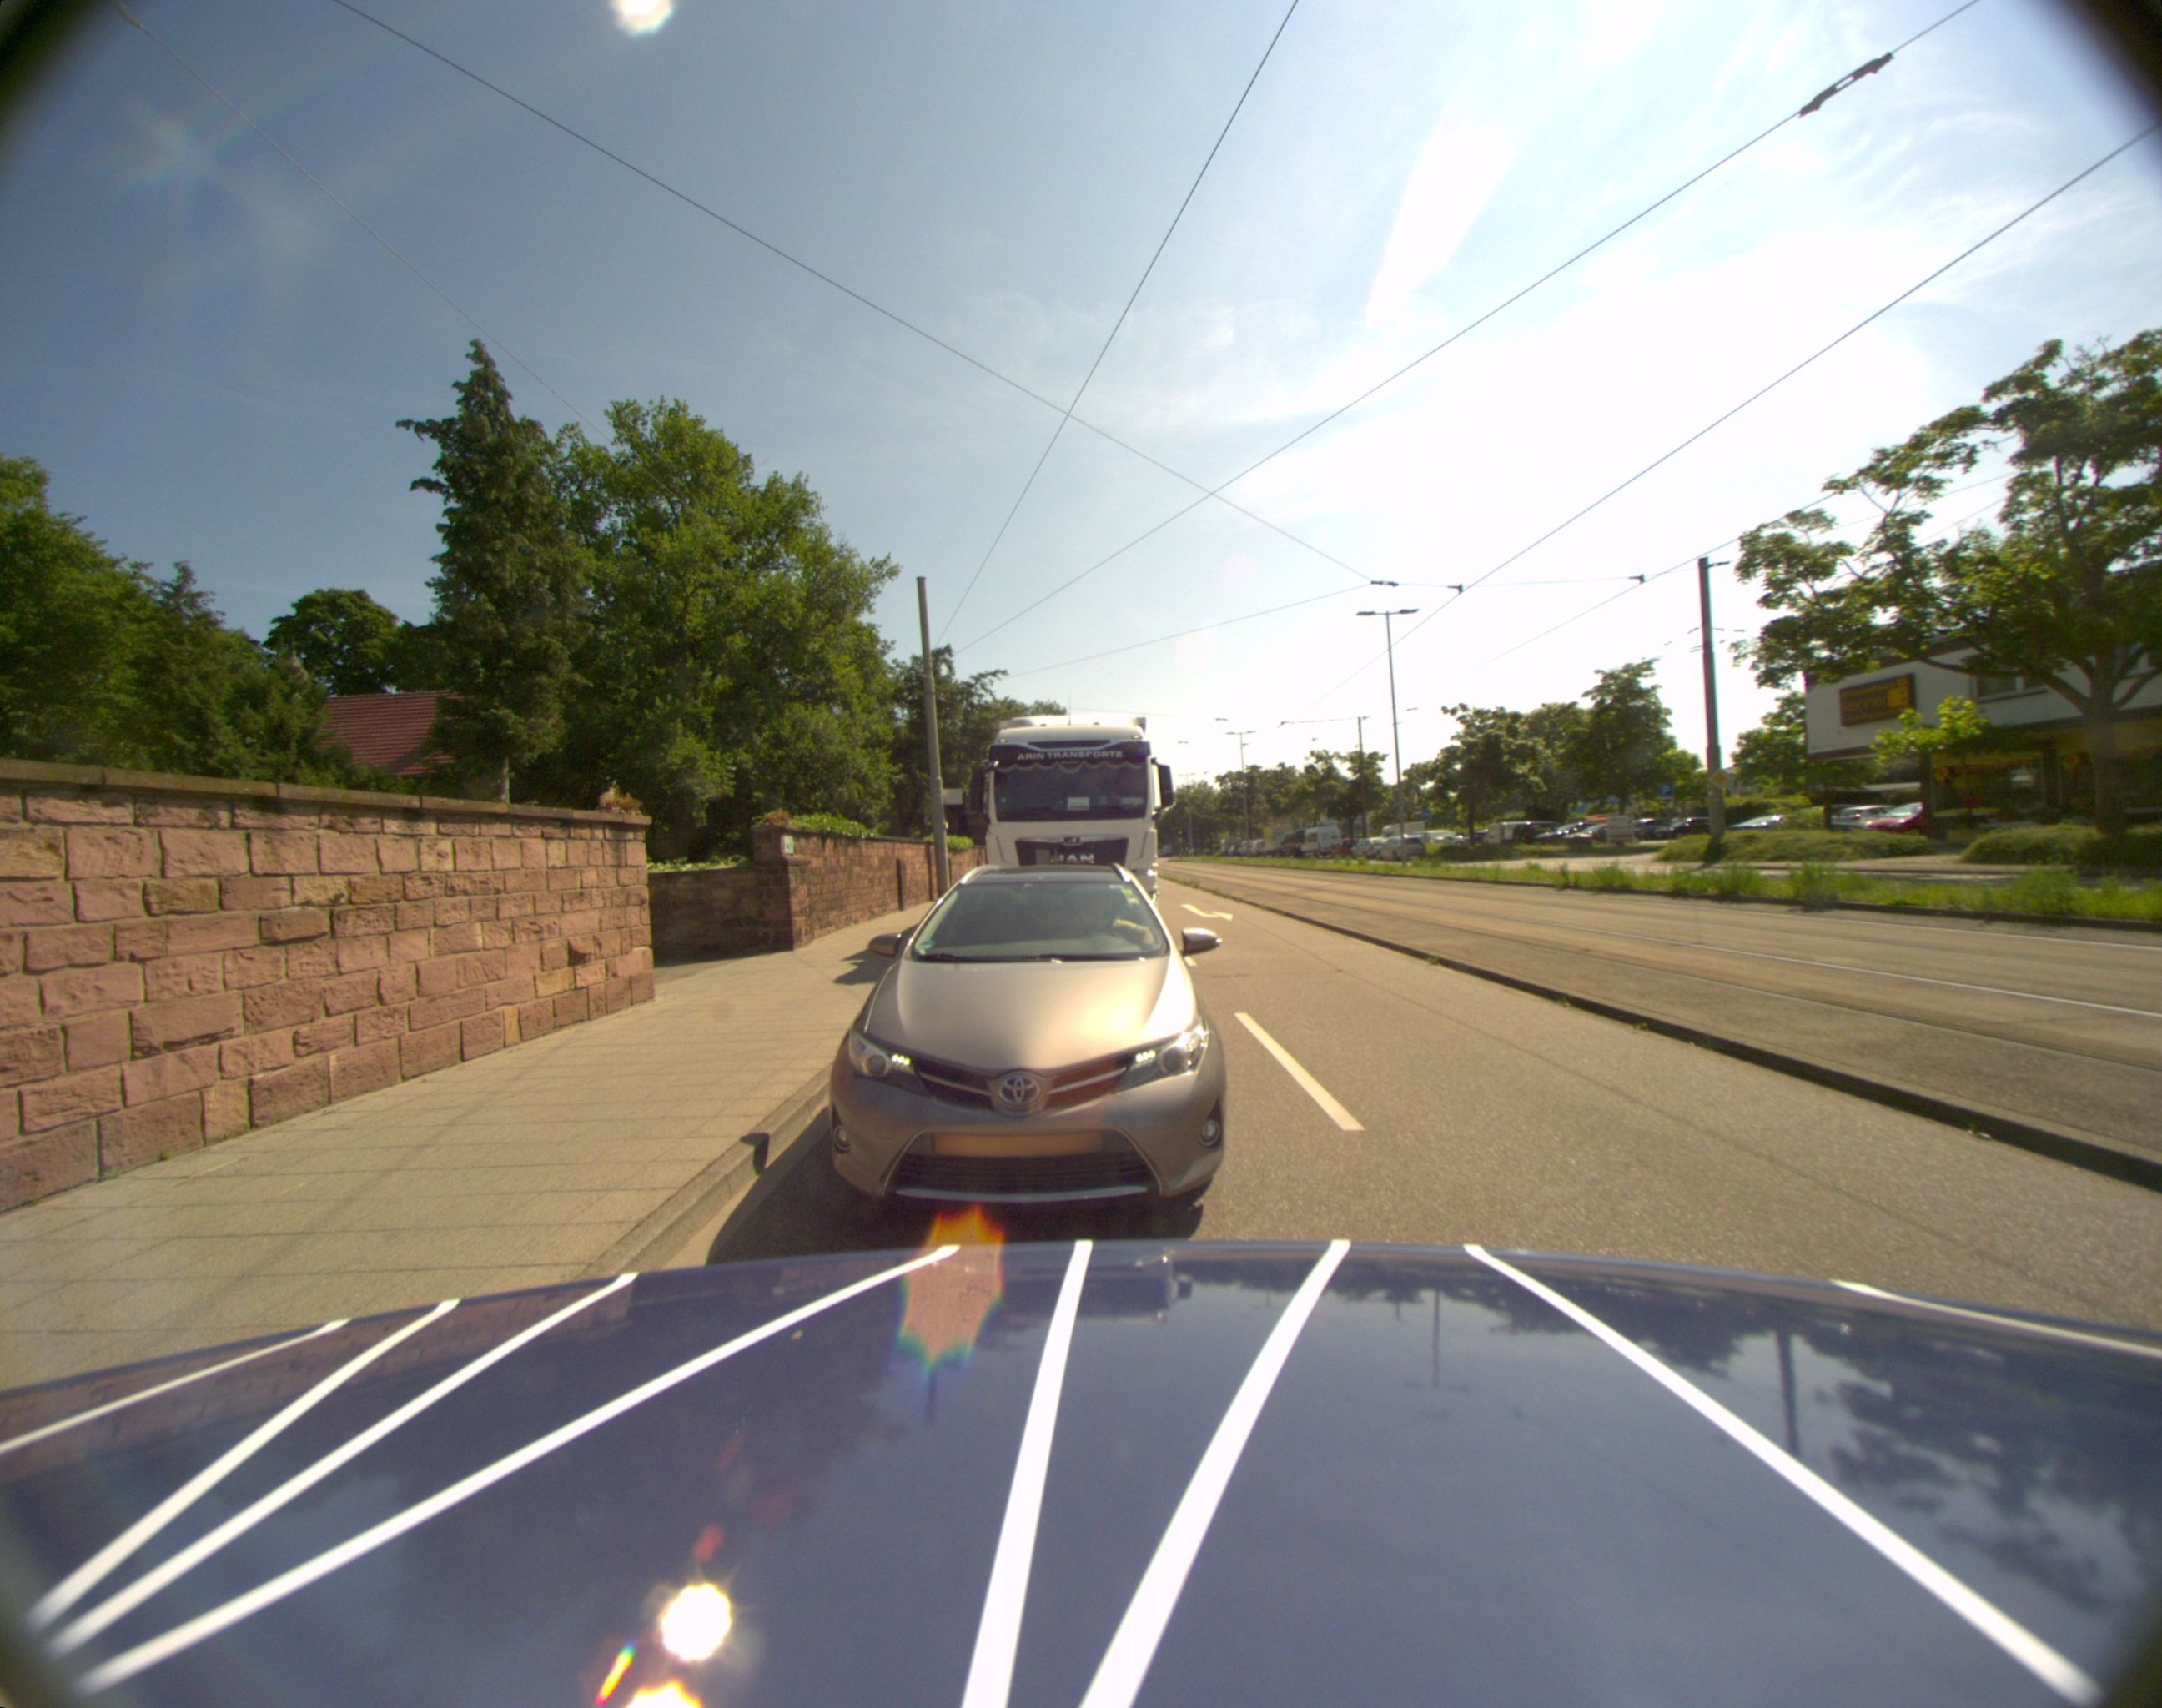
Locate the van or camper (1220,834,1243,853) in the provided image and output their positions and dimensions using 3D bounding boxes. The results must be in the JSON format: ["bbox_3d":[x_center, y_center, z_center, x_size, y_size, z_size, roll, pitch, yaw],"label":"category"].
[{"bbox_3d":[21.182,-1.474,107.208,2.114,2.604,5.451,-2,1,1],"label":"van or camper"}]

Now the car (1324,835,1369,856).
[{"bbox_3d":[20.499,-0.626,58.870,1.893,1.486,4.232,-3,0,0],"label":"car"}]

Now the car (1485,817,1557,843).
[{"bbox_3d":[30.452,-1.645,52.665,3.749,1.560,1.951,-3,1,-1],"label":"car"}]

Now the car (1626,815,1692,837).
[{"bbox_3d":[43.736,-2.121,57.530,3.624,1.353,1.712,-3,1,-1],"label":"car"}]

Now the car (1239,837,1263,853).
[{"bbox_3d":[21.058,-1.091,94.293,1.893,1.757,4.232,-3,0,0],"label":"car"}]

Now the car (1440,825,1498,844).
[{"bbox_3d":[31.043,-1.542,60.849,3.624,1.274,1.812,-3,0,-1],"label":"car"}]

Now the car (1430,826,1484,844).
[{"bbox_3d":[31.470,-1.590,63.682,3.624,1.274,1.712,-3,1,-1],"label":"car"}]

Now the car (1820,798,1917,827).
[{"bbox_3d":[43.789,-2.301,42.295,3.624,1.353,1.712,-3,1,-1],"label":"car"}]

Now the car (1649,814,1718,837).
[{"bbox_3d":[43.538,-2.041,54.940,3.624,1.353,1.712,-3,1,-1],"label":"car"}]

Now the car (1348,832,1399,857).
[{"bbox_3d":[20.537,-0.635,53.517,1.893,1.551,4.285,-3,0,0],"label":"car"}]

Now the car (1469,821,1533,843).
[{"bbox_3d":[30.379,-1.584,54.991,3.624,1.277,1.712,-3,1,-1],"label":"car"}]

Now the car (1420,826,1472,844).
[{"bbox_3d":[31.695,-1.625,66.025,3.624,1.274,1.712,-3,1,-1],"label":"car"}]

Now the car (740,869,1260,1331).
[{"bbox_3d":[-0.254,0.911,4.899,1.742,1.424,4.462,-3,0,1],"label":"car"}]

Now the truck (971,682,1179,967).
[{"bbox_3d":[-0.021,-0.428,15.039,2.746,3.852,9.110,-2,0,1],"label":"truck"}]

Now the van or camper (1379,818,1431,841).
[{"bbox_3d":[44.867,-3.388,105.395,6.081,2.715,2.299,-3,1,3],"label":"van or camper"}]

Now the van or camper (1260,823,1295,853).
[{"bbox_3d":[20.295,-1.612,78.743,2.128,2.967,5.281,-3,0,0],"label":"van or camper"}]

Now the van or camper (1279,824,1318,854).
[{"bbox_3d":[20.220,-1.346,70.853,2.040,2.617,4.839,-3,0,0],"label":"van or camper"}]

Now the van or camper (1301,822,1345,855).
[{"bbox_3d":[20.273,-1.268,63.798,2.040,2.617,4.839,-3,0,0],"label":"van or camper"}]

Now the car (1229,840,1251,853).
[{"bbox_3d":[20.917,-0.974,100.267,1.893,1.551,4.232,-3,0,0],"label":"car"}]

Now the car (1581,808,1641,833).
[{"bbox_3d":[43.612,-2.728,62.563,3.624,1.767,1.712,-3,1,-1],"label":"car"}]

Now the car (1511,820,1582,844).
[{"bbox_3d":[30.703,-1.447,50.198,3.624,1.353,1.712,-3,1,-1],"label":"car"}]

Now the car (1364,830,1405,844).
[{"bbox_3d":[32.010,-1.799,80.246,3.624,1.274,1.712,-3,1,-1],"label":"car"}]

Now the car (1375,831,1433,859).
[{"bbox_3d":[20.373,-0.534,48.145,1.892,1.486,4.285,-6,0,2],"label":"car"}]

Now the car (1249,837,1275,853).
[{"bbox_3d":[20.784,-1.031,87.357,1.893,1.724,4.232,-3,0,0],"label":"car"}]

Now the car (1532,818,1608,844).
[{"bbox_3d":[30.499,-1.408,47.456,3.624,1.353,1.712,-3,1,-1],"label":"car"}]
